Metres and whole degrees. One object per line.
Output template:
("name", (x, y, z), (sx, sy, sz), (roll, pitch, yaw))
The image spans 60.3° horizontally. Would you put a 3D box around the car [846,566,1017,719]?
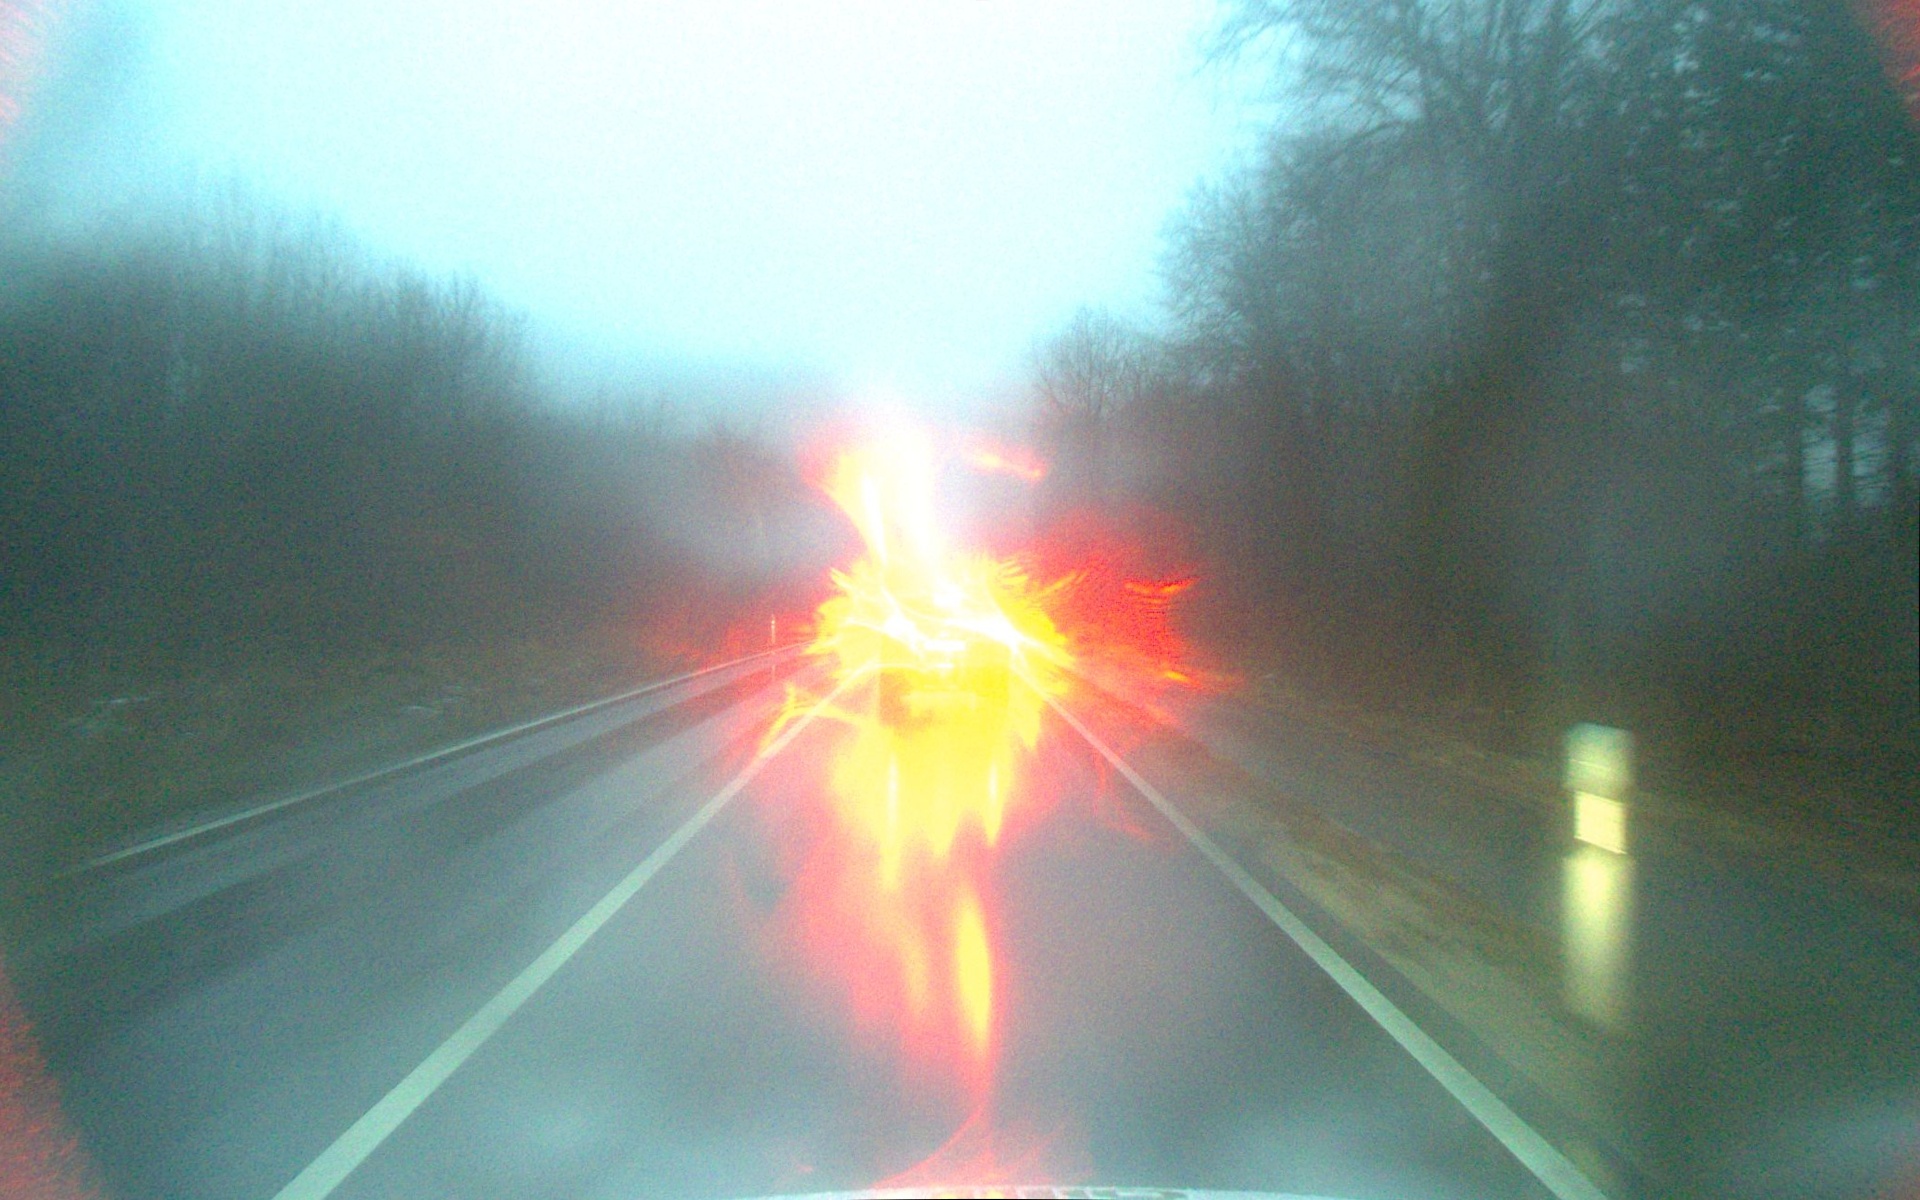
("car", (-0.411, 0.544, 23.540), (2.153, 1.910, 4.826), (1, 0, -1))
